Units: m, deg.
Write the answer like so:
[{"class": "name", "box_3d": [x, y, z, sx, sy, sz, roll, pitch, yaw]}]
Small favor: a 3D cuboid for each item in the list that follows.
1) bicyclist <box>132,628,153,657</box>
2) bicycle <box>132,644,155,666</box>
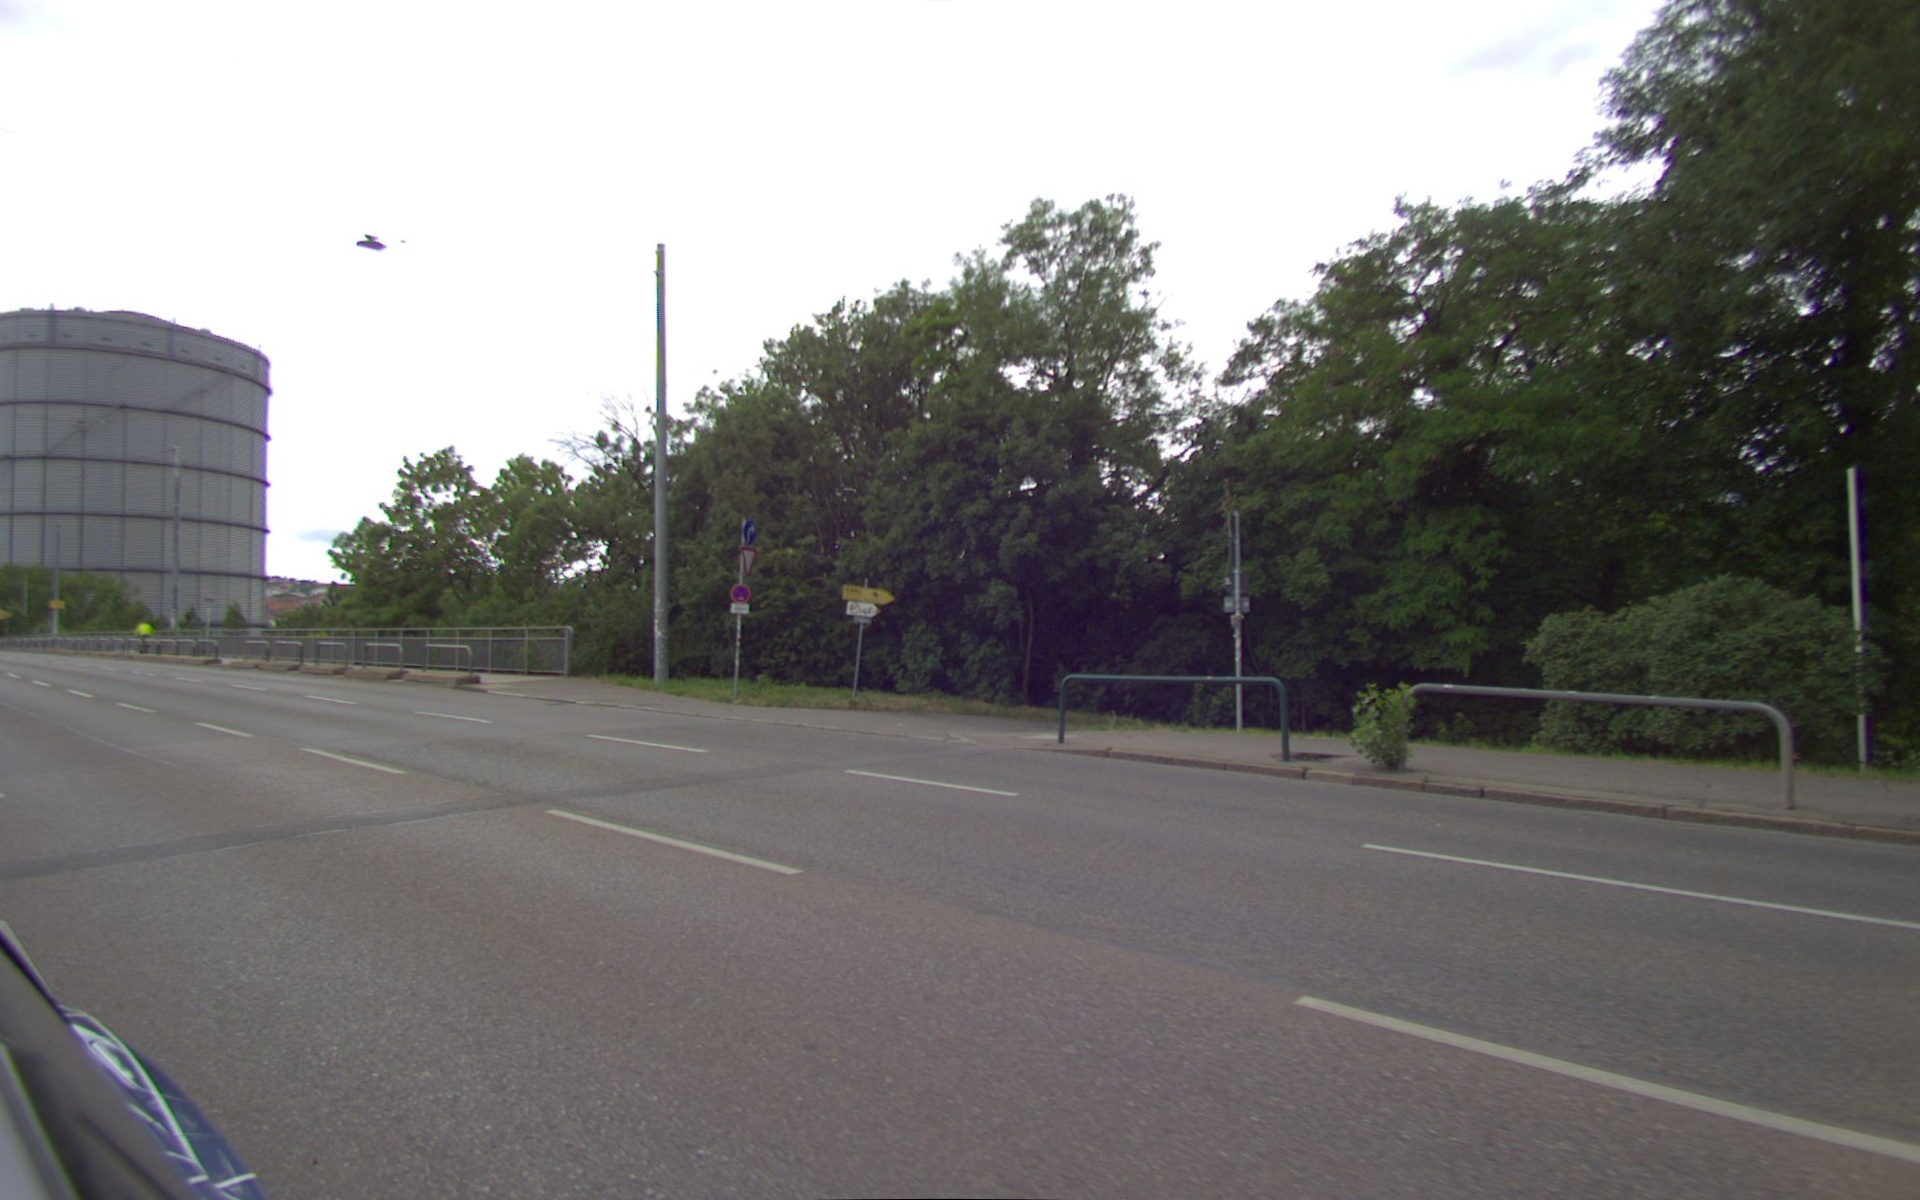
[{"class": "bicyclist", "box_3d": [-43.612, 2.271, 53.964, 0.670, 1.486, 0.620, -2, 5, 43]}, {"class": "bicycle", "box_3d": [-43.564, 2.923, 53.984, 1.983, 1.071, 0.628, -2, 5, 44]}]
